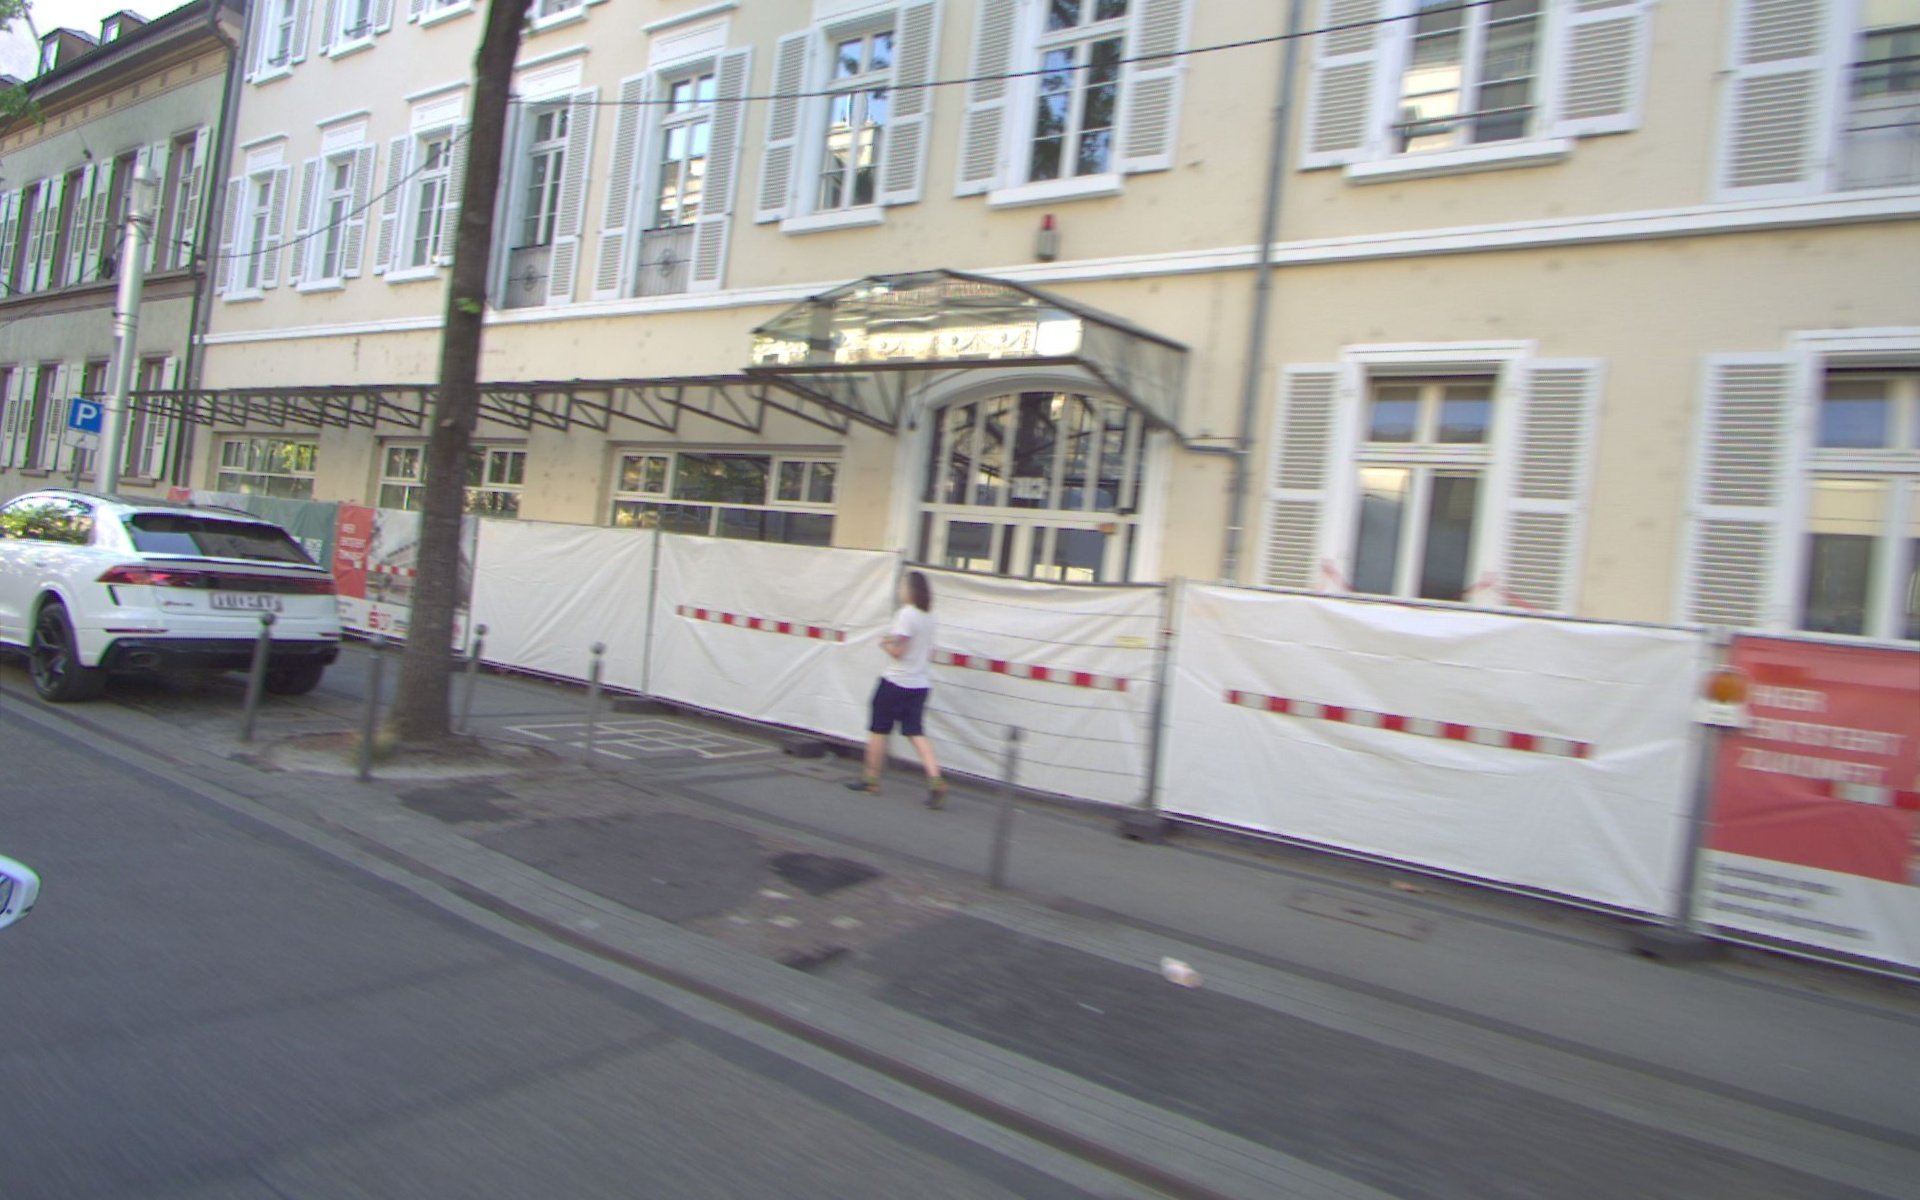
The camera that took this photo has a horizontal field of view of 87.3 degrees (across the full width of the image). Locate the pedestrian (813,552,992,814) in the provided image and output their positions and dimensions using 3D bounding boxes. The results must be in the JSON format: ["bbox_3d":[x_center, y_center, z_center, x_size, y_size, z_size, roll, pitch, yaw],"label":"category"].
[{"bbox_3d":[-0.463,0.636,8.140,1.035,1.910,0.713,7,1,31],"label":"pedestrian"}]

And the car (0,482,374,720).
[{"bbox_3d":[-8.064,-0.127,9.542,4.882,1.709,2.001,6,0,28],"label":"car"}]
